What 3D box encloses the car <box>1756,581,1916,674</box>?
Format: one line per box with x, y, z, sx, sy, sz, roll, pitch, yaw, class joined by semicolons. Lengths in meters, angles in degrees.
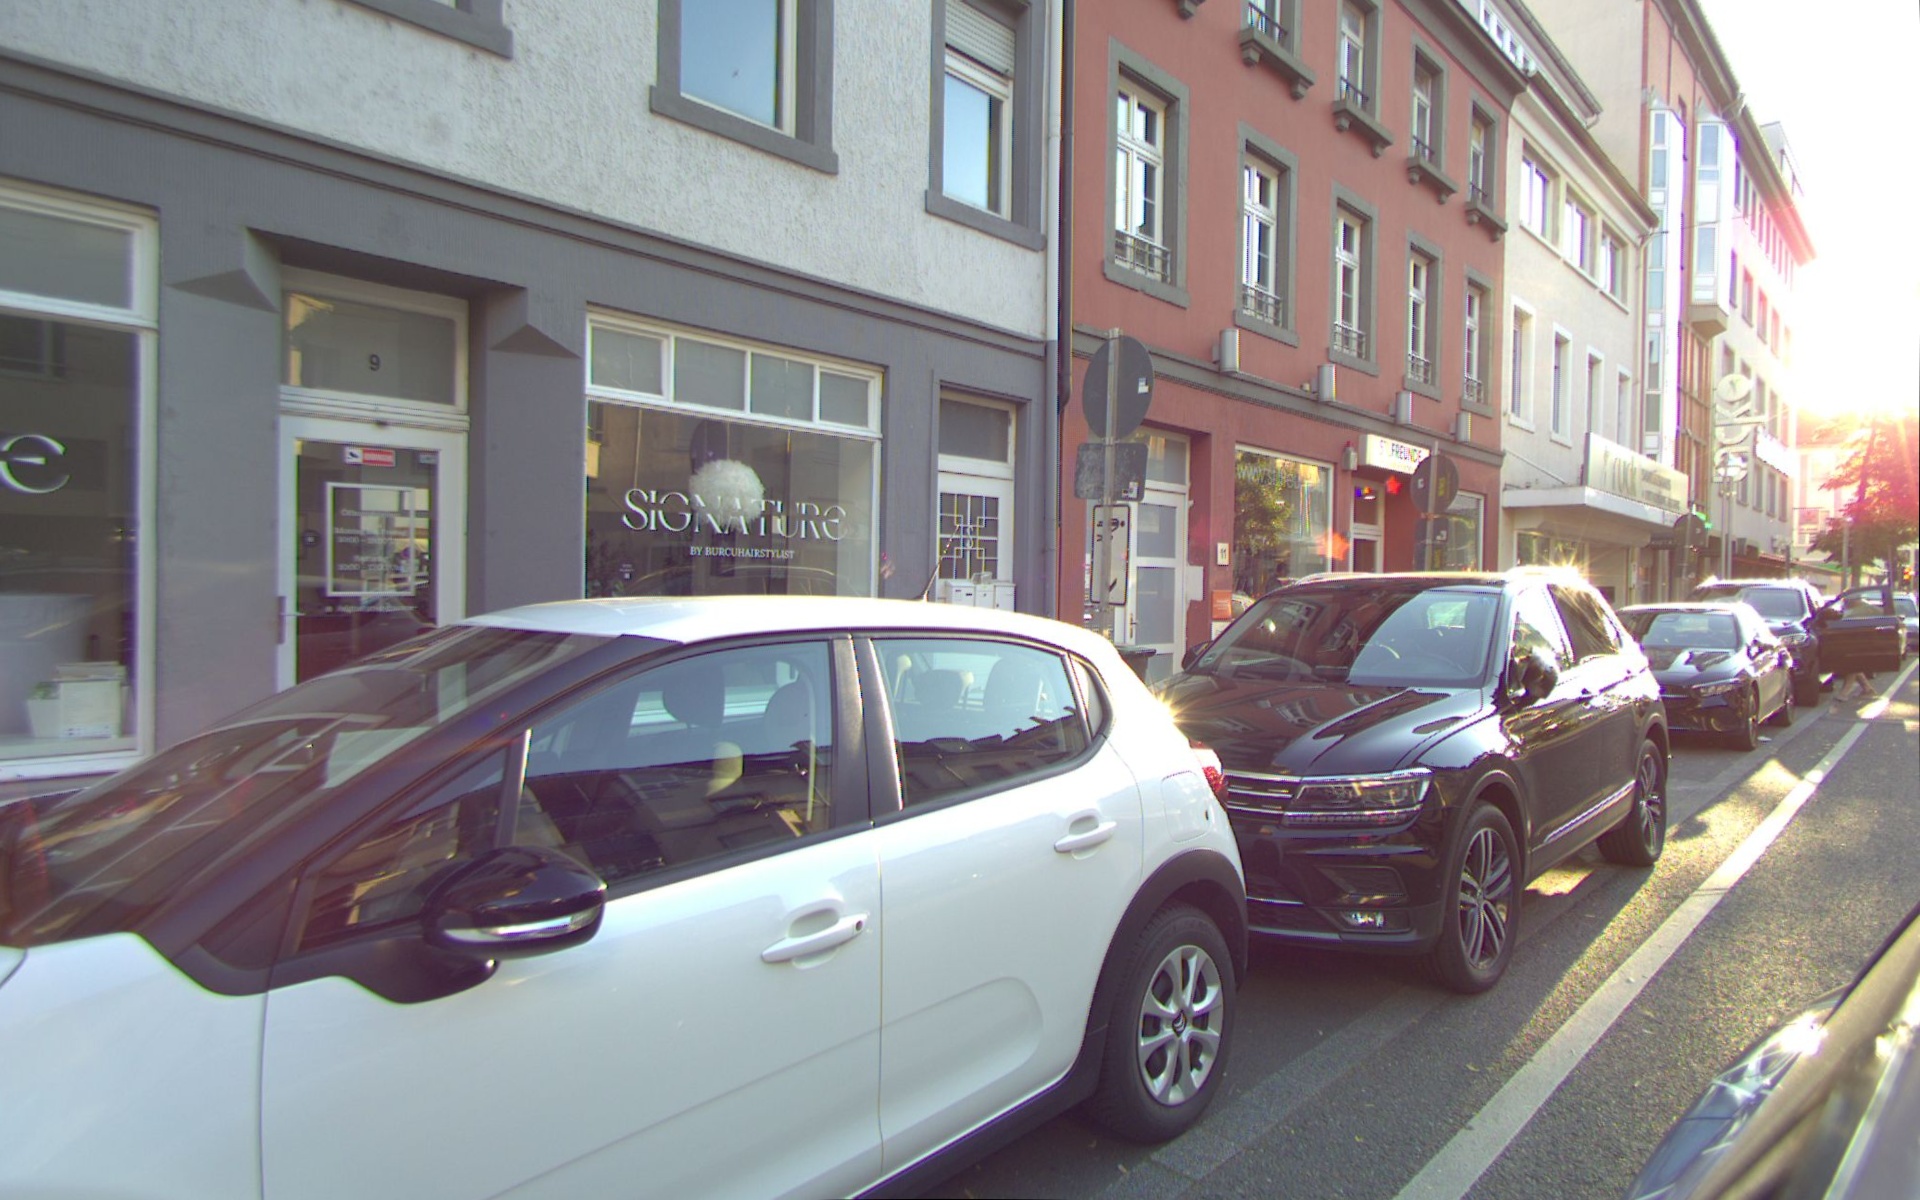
17.858;0.460;20.559;4.550;1.676;1.996;-1;1;-43;car

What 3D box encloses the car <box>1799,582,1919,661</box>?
21.769;0.440;24.342;4.407;1.675;1.995;-1;2;-45;car

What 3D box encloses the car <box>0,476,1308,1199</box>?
-0.925;0.653;2.341;3.869;1.593;1.663;-1;0;-43;car

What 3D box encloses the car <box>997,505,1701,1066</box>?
2.345;0.554;5.302;4.387;1.720;1.795;-1;0;-45;car

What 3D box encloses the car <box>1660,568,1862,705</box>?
12.735;0.448;15.942;1.994;1.799;5.234;1;1;44;car

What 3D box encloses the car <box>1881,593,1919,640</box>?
33.051;0.540;34.798;3.722;1.521;1.692;0;2;-42;car

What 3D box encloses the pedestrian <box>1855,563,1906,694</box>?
13.473;0.398;14.826;0.483;1.881;0.532;1;1;39;pedestrian

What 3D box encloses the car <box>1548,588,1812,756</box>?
8.271;0.658;11.457;4.339;1.507;1.685;-1;0;-45;car

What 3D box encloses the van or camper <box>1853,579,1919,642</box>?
28.580;0.270;30.941;1.786;1.796;4.491;2;2;40;van or camper
